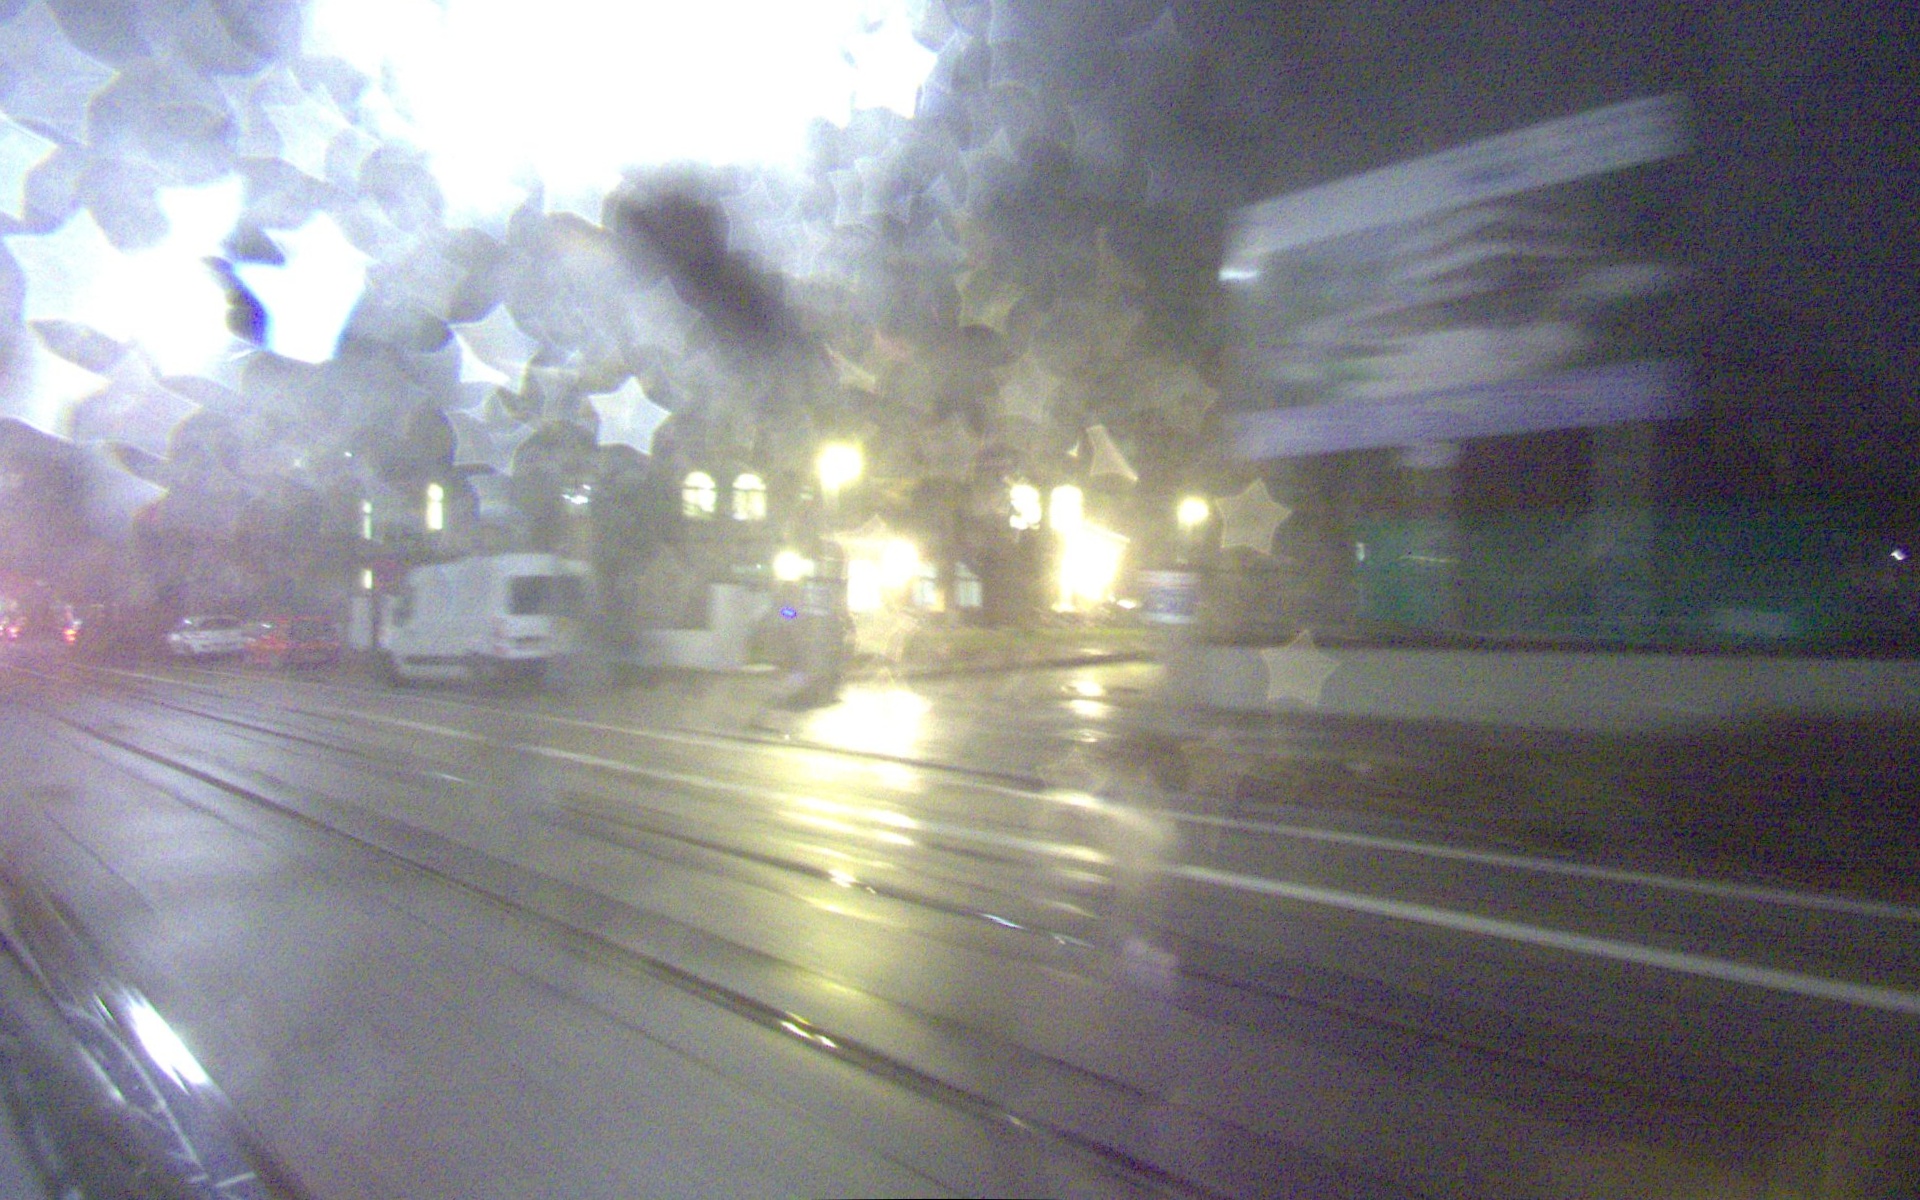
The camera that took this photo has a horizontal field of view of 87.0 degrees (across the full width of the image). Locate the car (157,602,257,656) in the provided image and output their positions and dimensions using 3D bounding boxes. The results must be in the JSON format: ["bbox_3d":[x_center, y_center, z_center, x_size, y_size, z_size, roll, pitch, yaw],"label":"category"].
[{"bbox_3d":[-24.765,0.901,33.245,3.661,1.593,1.823,0,2,40],"label":"car"}]

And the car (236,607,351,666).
[{"bbox_3d":[-18.200,0.955,27.592,3.388,1.418,1.698,0,2,40],"label":"car"}]

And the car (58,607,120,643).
[{"bbox_3d":[-40.506,1.115,47.020,3.917,1.586,1.671,0,0,42],"label":"car"}]

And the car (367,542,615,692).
[{"bbox_3d":[-9.174,0.257,19.599,5.254,2.527,2.220,0,2,39],"label":"car"}]
